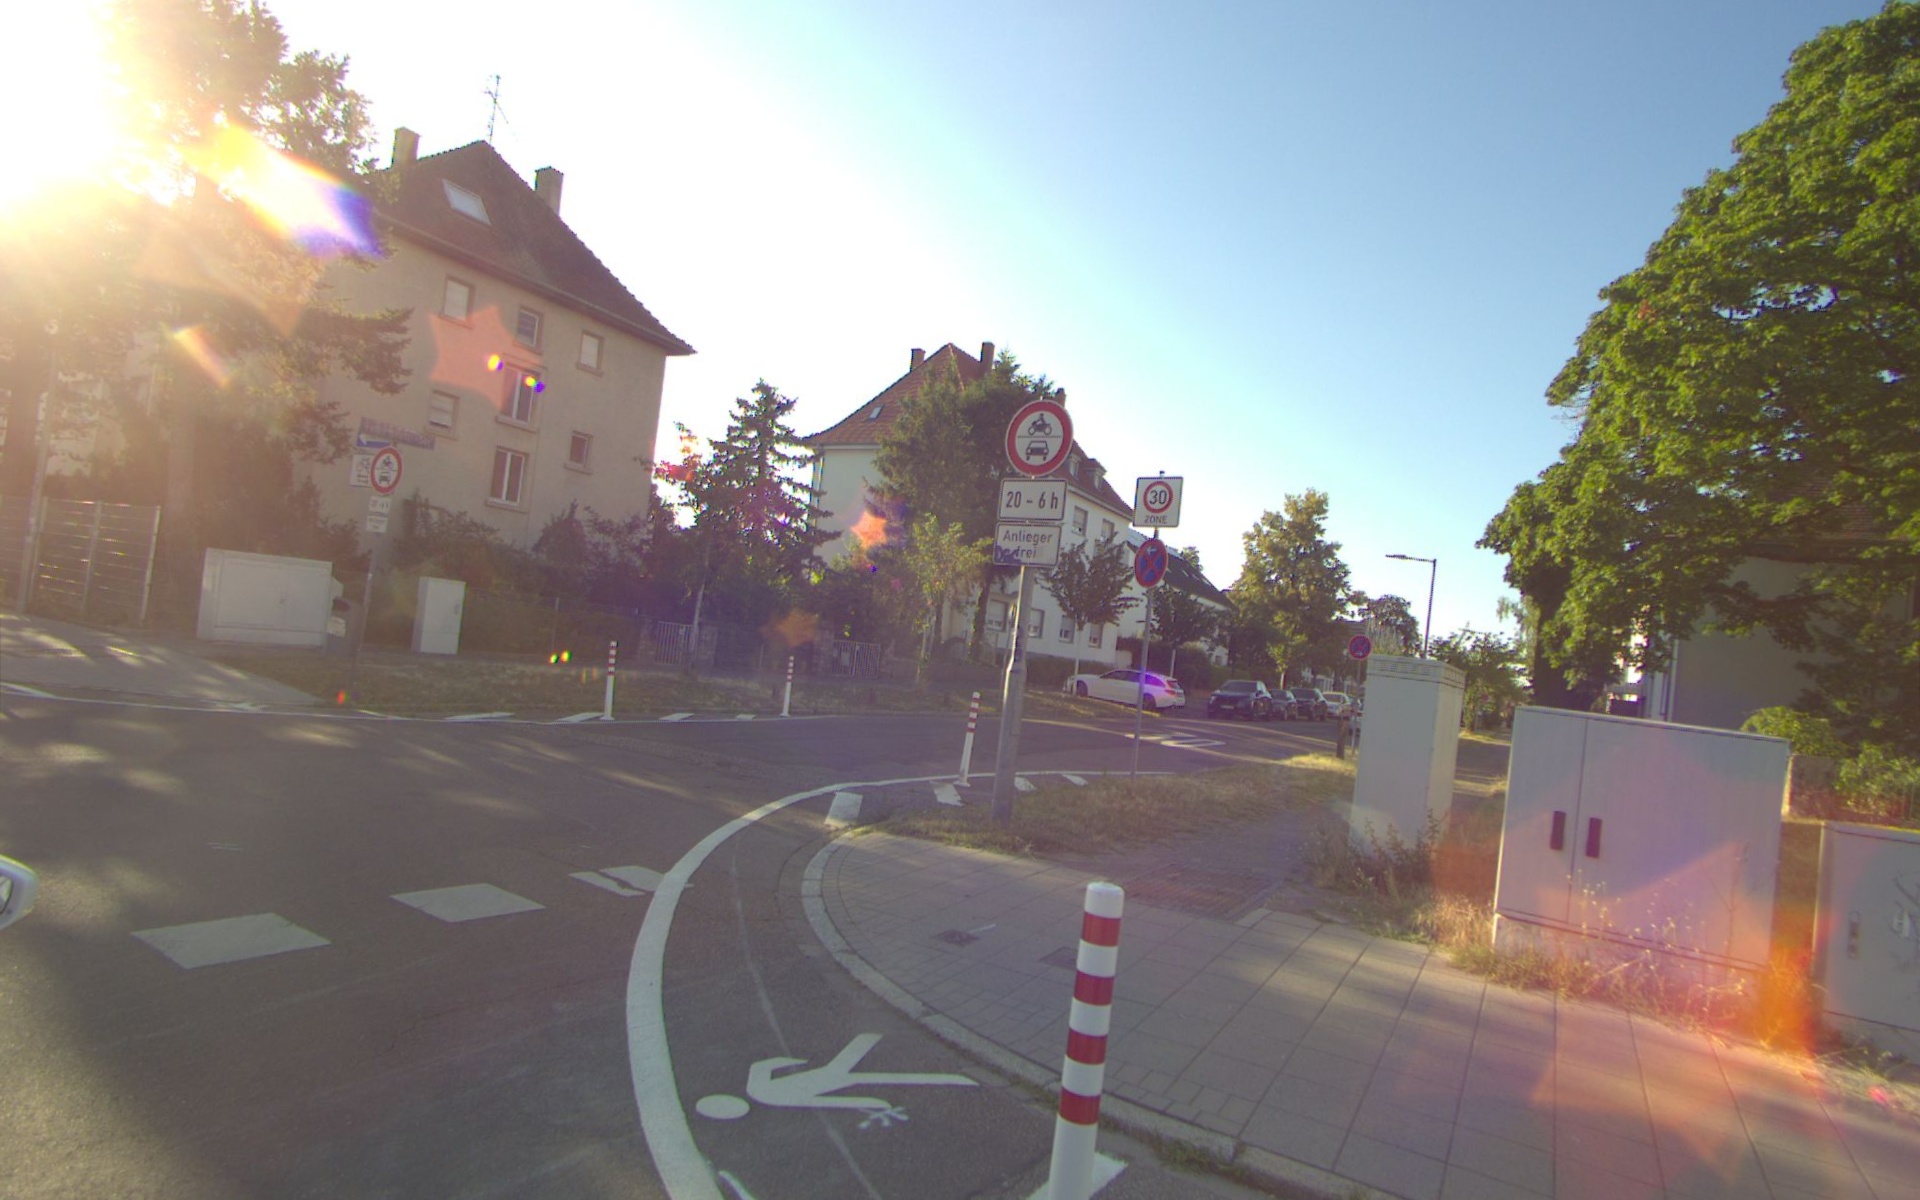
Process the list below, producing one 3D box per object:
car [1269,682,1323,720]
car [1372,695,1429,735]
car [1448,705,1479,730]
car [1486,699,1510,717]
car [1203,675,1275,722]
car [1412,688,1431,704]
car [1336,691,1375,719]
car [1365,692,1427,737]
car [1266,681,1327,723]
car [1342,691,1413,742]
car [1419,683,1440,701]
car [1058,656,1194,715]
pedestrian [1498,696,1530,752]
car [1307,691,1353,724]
[{"bbox_3d":[17.343,5.209,51.830,1.937,1.632,4.246,5,-3,27],"label":"car"},{"bbox_3d":[21.345,5.555,48.664,1.939,1.632,4.243,5,-3,30],"label":"car"},{"bbox_3d":[39.182,9.143,78.314,1.937,1.632,4.246,5,-3,27],"label":"car"},{"bbox_3d":[55.851,11.222,104.427,1.939,1.632,4.243,5,-3,30],"label":"car"},{"bbox_3d":[11.536,4.058,41.431,1.937,1.632,4.246,5,-3,27],"label":"car"},{"bbox_3d":[59.318,12.355,129.228,1.937,1.795,4.246,5,-3,27],"label":"car"},{"bbox_3d":[26.846,7.118,68.165,1.937,1.632,4.246,5,-3,27],"label":"car"},{"bbox_3d":[19.334,5.064,44.518,1.939,1.632,4.243,5,-3,30],"label":"car"},{"bbox_3d":[15.622,4.734,46.571,1.937,1.632,4.246,5,-3,27],"label":"car"},{"bbox_3d":[16.433,4.556,39.440,1.939,1.632,4.243,5,-3,30],"label":"car"},{"bbox_3d":[54.607,10.723,117.086,1.937,1.795,4.246,5,-3,27],"label":"car"},{"bbox_3d":[6.480,3.337,39.374,4.756,1.632,1.970,6,-2,29],"label":"car"},{"bbox_3d":[21.587,4.824,39.181,0.884,2.037,0.691,5,-2,32],"label":"pedestrian"},{"bbox_3d":[22.118,6.403,60.069,1.937,1.632,4.246,5,-3,27],"label":"car"}]
